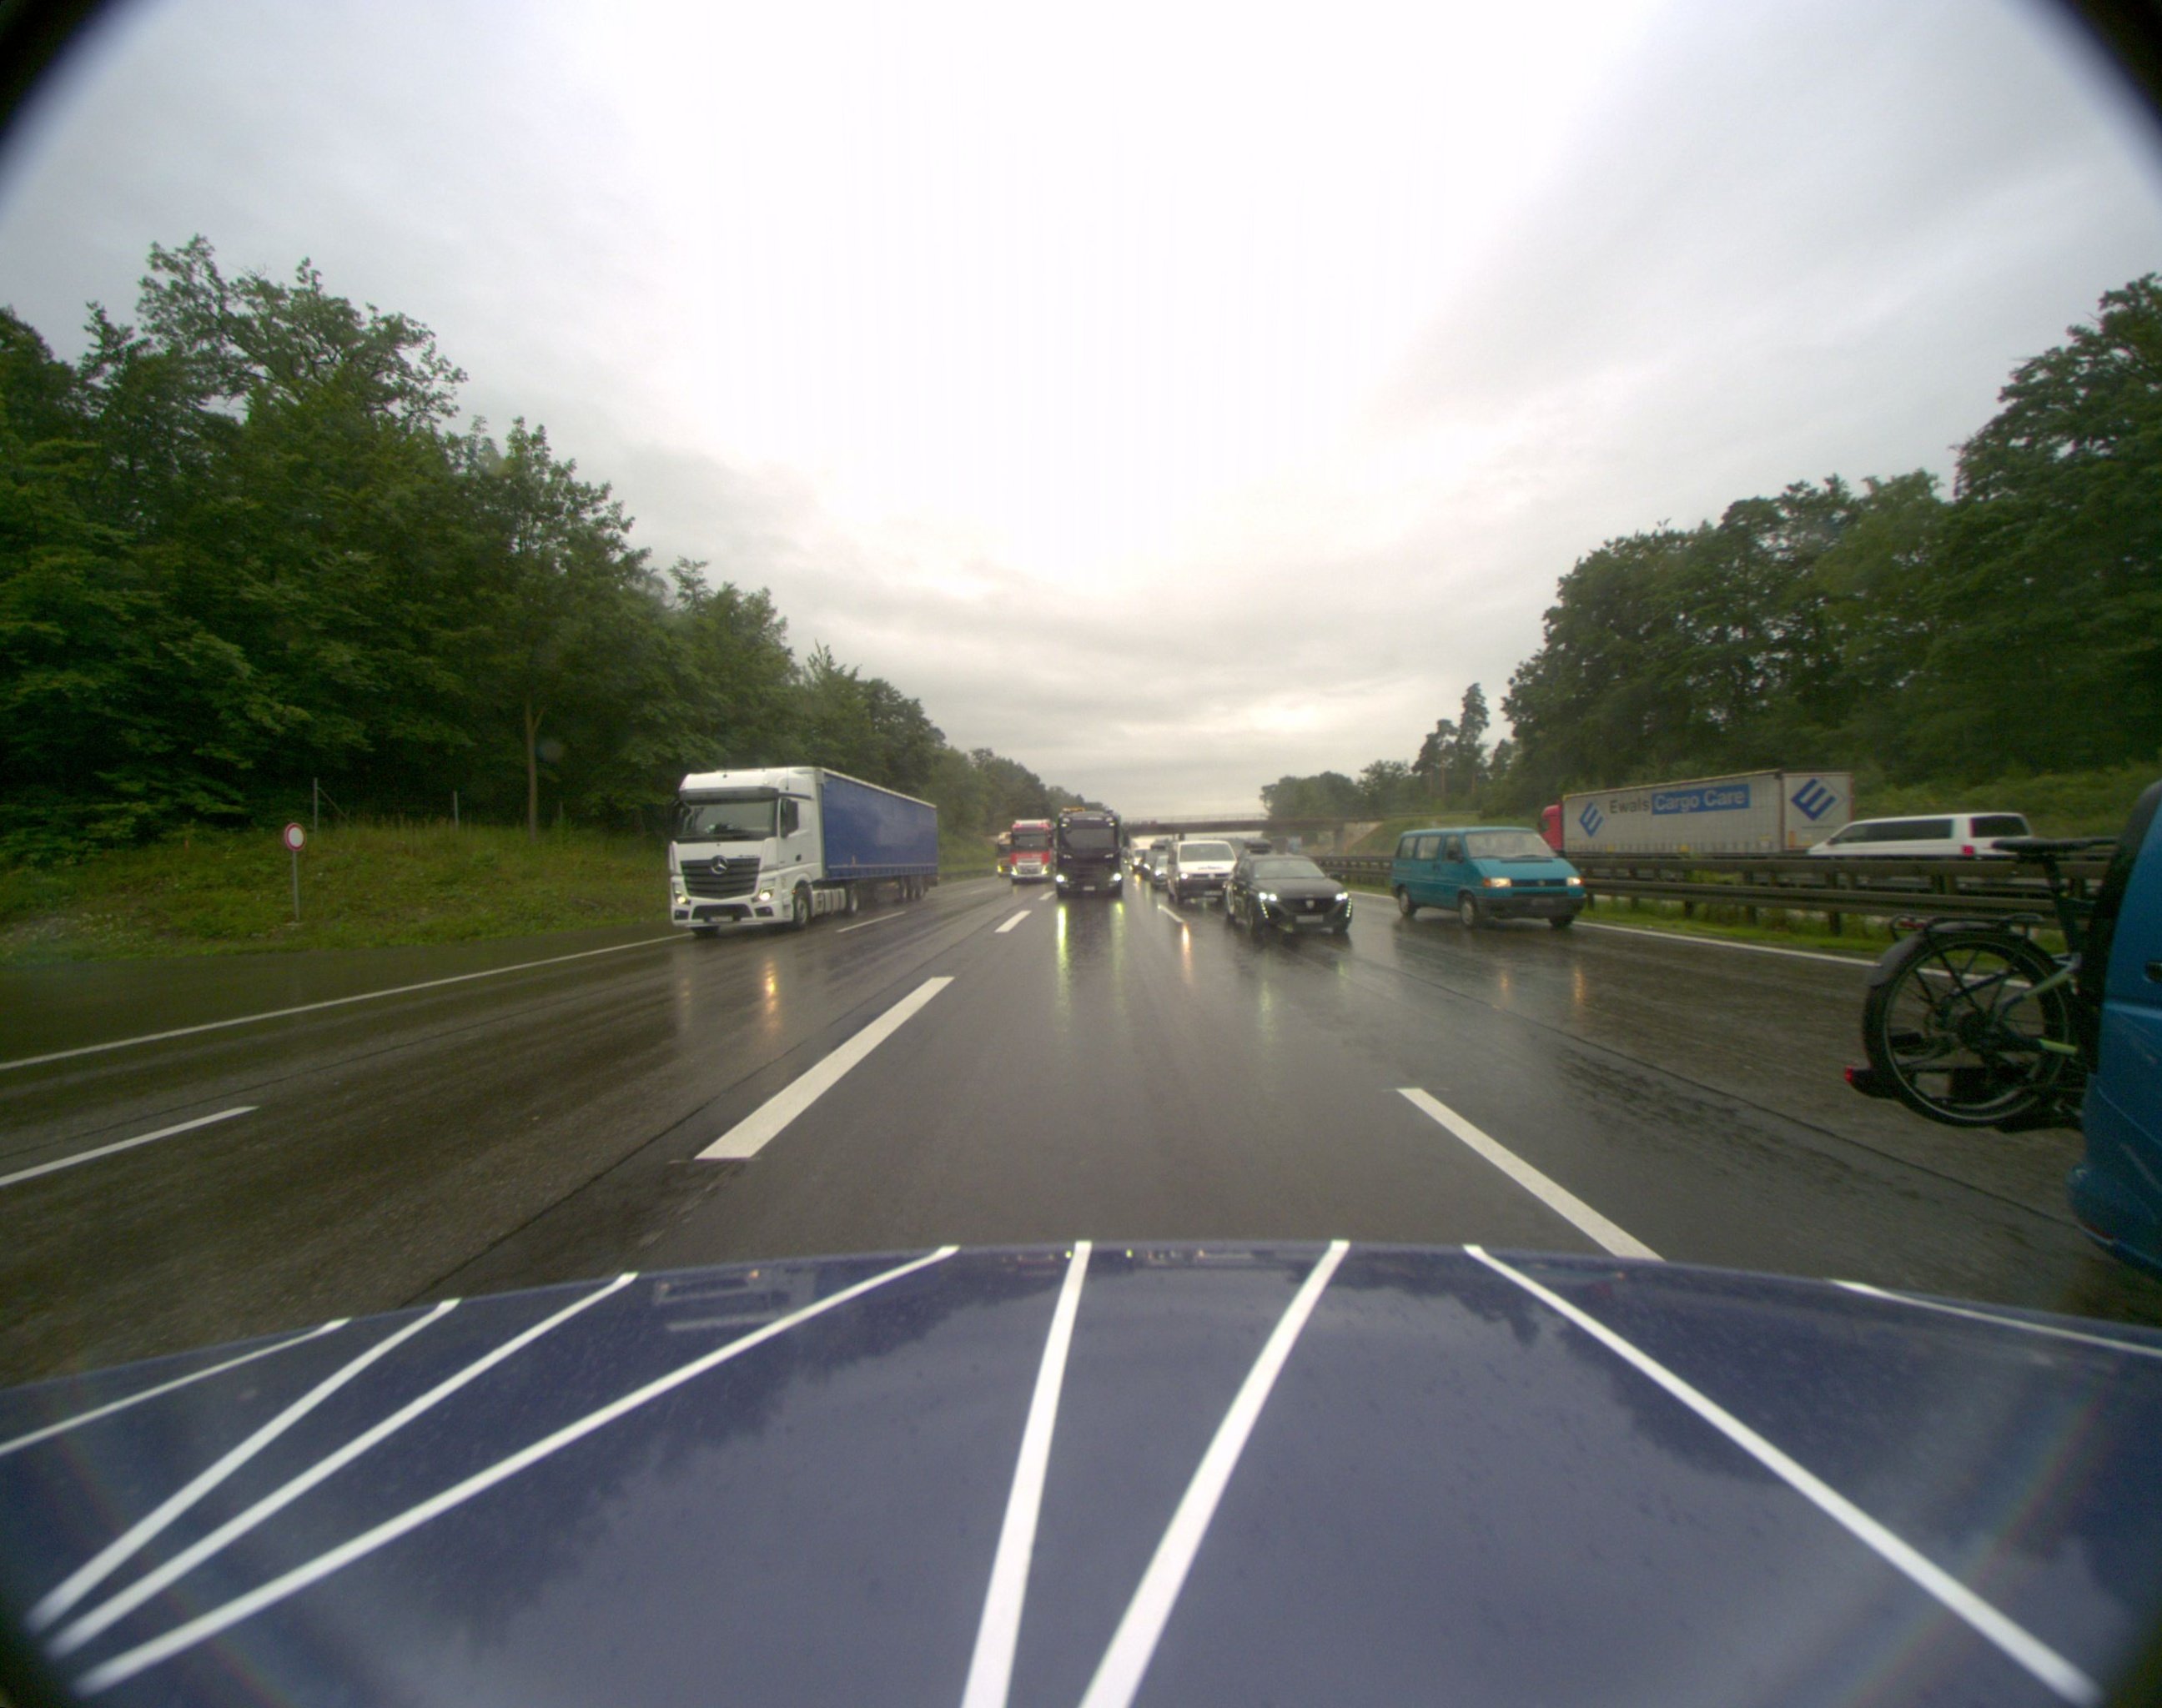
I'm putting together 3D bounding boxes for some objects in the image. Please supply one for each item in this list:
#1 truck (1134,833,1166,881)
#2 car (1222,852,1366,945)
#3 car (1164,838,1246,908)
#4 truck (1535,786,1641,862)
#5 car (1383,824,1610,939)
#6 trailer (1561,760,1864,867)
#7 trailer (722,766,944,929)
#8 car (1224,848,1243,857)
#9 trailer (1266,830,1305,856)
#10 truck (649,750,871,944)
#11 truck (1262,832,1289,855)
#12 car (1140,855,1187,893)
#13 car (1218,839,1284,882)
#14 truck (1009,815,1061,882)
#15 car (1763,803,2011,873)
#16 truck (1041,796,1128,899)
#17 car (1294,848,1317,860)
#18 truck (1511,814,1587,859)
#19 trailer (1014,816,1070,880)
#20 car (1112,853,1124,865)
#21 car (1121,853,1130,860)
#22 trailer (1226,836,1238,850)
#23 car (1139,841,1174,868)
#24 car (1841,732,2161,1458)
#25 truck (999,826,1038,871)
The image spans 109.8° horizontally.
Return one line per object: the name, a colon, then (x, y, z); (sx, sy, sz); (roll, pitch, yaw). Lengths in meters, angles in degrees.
truck: (6.044, 0.250, 67.569); (2.520, 3.941, 6.996); (-2, 0, 3)
car: (4.054, 0.765, 15.238); (1.850, 1.496, 4.467); (-2, 0, 3)
car: (3.721, 0.530, 23.608); (1.994, 1.869, 4.768); (-2, 0, 3)
truck: (27.947, -1.574, 42.137); (2.710, 3.931, 4.891); (-1, 1, 1)
car: (7.893, 0.446, 15.077); (1.915, 1.852, 4.759); (-2, 0, 1)
trailer: (27.762, -1.528, 35.084); (2.726, 3.931, 13.960); (-1, 0, 2)
trailer: (-7.444, -0.200, 25.868); (2.560, 3.990, 13.714); (-2, 0, 1)
car: (24.555, -0.228, 122.408); (1.999, 1.498, 4.707); (-1, 0, -1)
trailer: (32.476, -1.677, 121.353); (3.031, 3.795, 13.562); (-2, 0, 2)
truck: (-7.679, -0.170, 19.210); (2.607, 3.990, 6.013); (-3, 1, 2)
truck: (32.749, -1.712, 128.282); (3.027, 3.795, 6.265); (-2, 0, 2)
car: (3.660, 0.834, 34.202); (1.850, 1.496, 4.467); (-2, 0, 3)
car: (7.813, 0.267, 35.321); (1.982, 1.814, 4.606); (-2, 0, 0)
truck: (-2.821, -0.352, 48.281); (2.607, 3.934, 5.600); (-2, 1, 2)
car: (24.038, -0.440, 23.064); (1.982, 1.814, 5.222); (-2, 0, 0)
truck: (0.437, -0.280, 32.363); (2.879, 3.528, 10.913); (-2, 1, 4)
car: (27.129, -0.009, 91.962); (1.705, 1.297, 3.757); (-2, 0, 1)
truck: (35.363, -1.252, 57.663); (2.383, 3.218, 5.785); (-1, 0, 2)
trailer: (-2.553, -0.422, 55.002); (2.607, 3.934, 14.582); (-2, 0, 2)
car: (6.503, 0.889, 133.814); (1.998, 2.002, 4.000); (-2, 0, 2)
car: (9.904, 0.541, 169.410); (1.864, 1.554, 4.436); (-2, 0, 2)
trailer: (42.940, -3.079, 216.191); (2.688, 3.795, 9.011); (-2, 0, 7)
car: (4.866, 0.026, 49.354); (1.994, 1.551, 4.768); (-2, 0, 3)
car: (3.854, 0.596, 0.263); (2.275, 1.900, 5.016); (-2, 0, 3)
truck: (-5.802, -0.500, 72.533); (2.608, 3.934, 9.939); (-2, 0, 1)
